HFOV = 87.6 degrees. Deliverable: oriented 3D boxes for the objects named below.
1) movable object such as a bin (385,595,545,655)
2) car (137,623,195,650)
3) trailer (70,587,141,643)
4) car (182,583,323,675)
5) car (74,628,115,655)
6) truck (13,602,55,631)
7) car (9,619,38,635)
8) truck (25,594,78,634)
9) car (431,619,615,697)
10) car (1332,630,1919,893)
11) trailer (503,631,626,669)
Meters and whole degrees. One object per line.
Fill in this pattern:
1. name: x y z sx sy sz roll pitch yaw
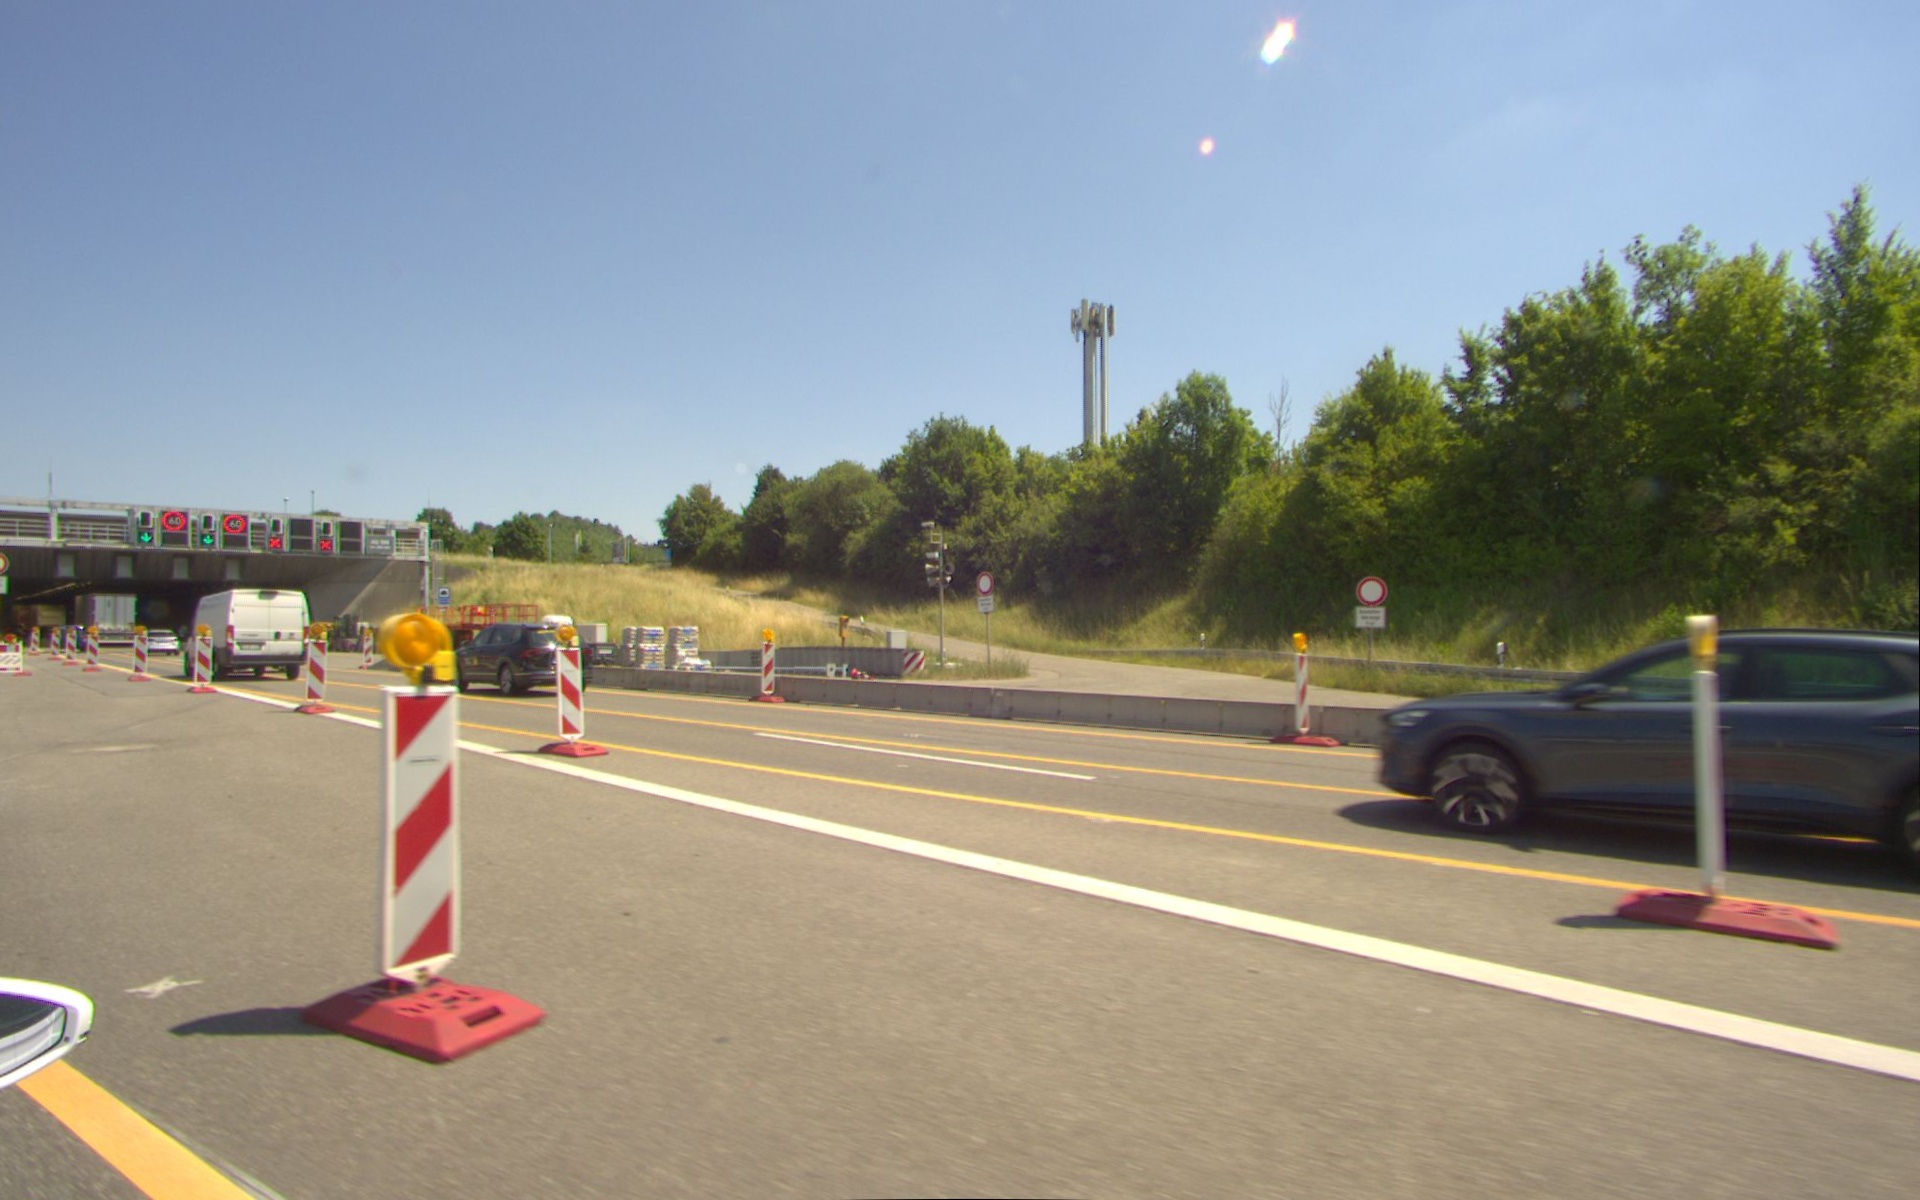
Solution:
1. movable object such as a bin: -28.507 1.469 57.028 14.542 3.050 3.094 -2 0 43
2. car: -46.374 2.144 58.464 4.599 1.483 1.807 -2 -3 40
3. trailer: -68.713 1.338 80.374 13.945 4.113 2.718 -2 -3 43
4. car: -21.913 0.929 30.877 6.514 2.568 2.254 -2 -2 43
5. car: -55.644 2.697 64.329 1.803 1.663 4.609 2 -3 -43
6. truck: -142.104 2.659 153.520 16.359 4.122 3.385 -2 -3 43
7. car: -102.597 2.936 109.646 4.141 1.650 1.808 -2 -3 40
8. truck: -113.808 1.872 125.265 16.361 4.388 3.385 -3 -4 43
9. car: -10.536 1.337 23.974 5.177 1.683 2.010 -2 -2 41
10. car: 5.348 0.983 7.222 4.624 1.505 1.985 -2 -3 41
11. trailer: -18.372 2.252 46.351 6.160 1.589 2.584 -1 0 39
